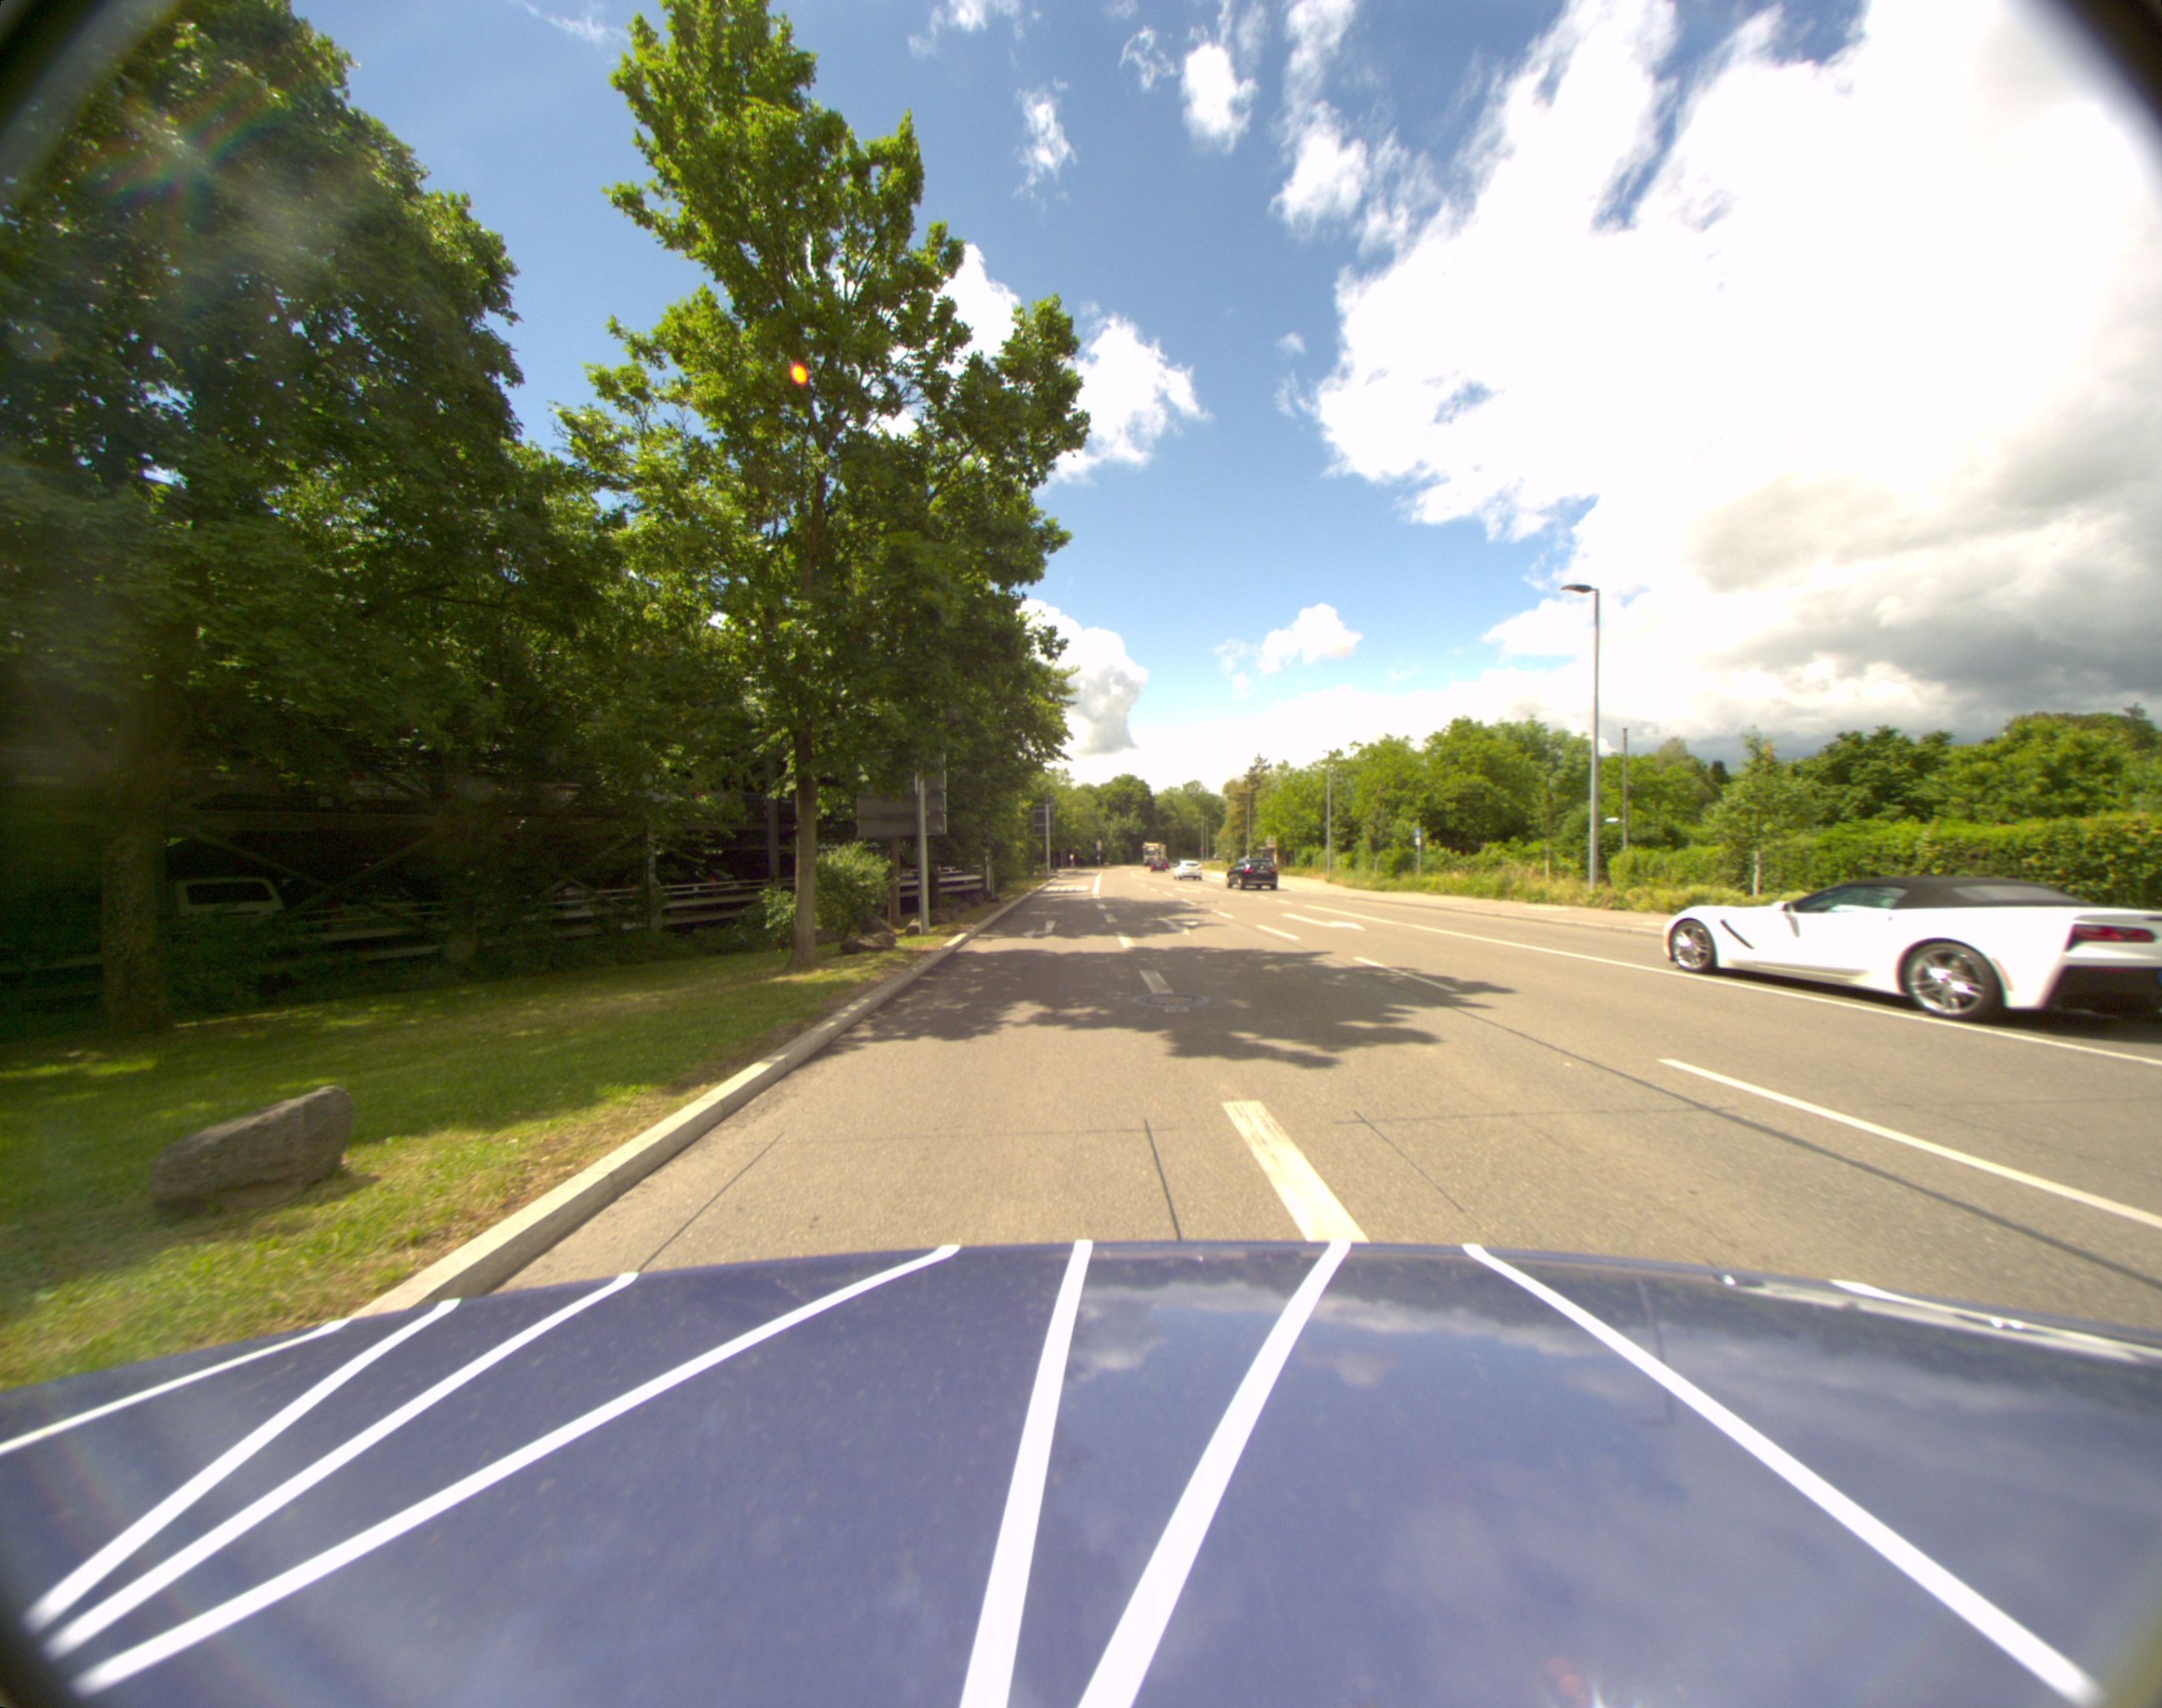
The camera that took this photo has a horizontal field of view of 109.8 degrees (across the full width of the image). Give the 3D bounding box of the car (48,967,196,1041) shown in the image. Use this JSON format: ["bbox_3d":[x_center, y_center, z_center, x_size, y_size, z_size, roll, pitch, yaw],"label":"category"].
[{"bbox_3d":[-27.298,4.192,21.619,3.847,1.438,1.698,1,1,24],"label":"car"}]

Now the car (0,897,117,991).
[{"bbox_3d":[-18.918,1.518,13.248,3.848,1.384,1.698,-1,1,24],"label":"car"}]

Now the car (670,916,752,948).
[{"bbox_3d":[-19.022,3.974,39.044,3.847,1.304,1.682,1,1,24],"label":"car"}]

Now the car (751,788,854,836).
[{"bbox_3d":[-10.906,-1.605,29.730,3.694,1.609,1.662,-1,-1,25],"label":"car"}]

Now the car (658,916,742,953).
[{"bbox_3d":[-19.076,3.992,38.033,3.847,1.438,1.698,1,1,24],"label":"car"}]

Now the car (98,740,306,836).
[{"bbox_3d":[-17.356,-1.209,15.005,3.694,1.532,1.731,-1,-1,25],"label":"car"}]

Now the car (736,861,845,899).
[{"bbox_3d":[-11.269,0.990,29.461,3.848,1.384,1.698,-1,1,24],"label":"car"}]

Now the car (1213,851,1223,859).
[{"bbox_3d":[35.335,0.186,195.701,1.840,1.783,3.907,-3,0,20],"label":"car"}]

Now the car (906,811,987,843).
[{"bbox_3d":[-6.748,-1.308,38.166,3.694,1.403,1.662,-1,-1,25],"label":"car"}]

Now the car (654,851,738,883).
[{"bbox_3d":[-19.453,0.627,38.405,3.847,1.477,1.756,1,1,24],"label":"car"}]

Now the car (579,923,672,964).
[{"bbox_3d":[-20.676,4.036,34.484,3.847,1.438,1.698,1,1,24],"label":"car"}]

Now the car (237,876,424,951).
[{"bbox_3d":[-16.945,1.272,17.161,3.848,1.481,1.698,-1,1,24],"label":"car"}]

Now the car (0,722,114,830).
[{"bbox_3d":[-18.462,-1.260,12.892,3.694,1.532,1.731,-1,-1,25],"label":"car"}]

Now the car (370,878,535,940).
[{"bbox_3d":[-16.070,1.353,19.429,3.848,1.384,1.698,-1,1,24],"label":"car"}]

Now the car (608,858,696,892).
[{"bbox_3d":[-20.507,0.951,36.304,3.847,1.477,1.698,1,1,24],"label":"car"}]

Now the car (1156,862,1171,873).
[{"bbox_3d":[11.718,1.903,107.784,1.827,1.548,4.630,1,-1,2],"label":"car"}]

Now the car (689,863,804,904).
[{"bbox_3d":[-12.227,1.041,27.780,3.848,1.384,1.698,-1,1,24],"label":"car"}]

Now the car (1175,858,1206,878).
[{"bbox_3d":[8.349,1.077,58.104,1.771,1.433,3.899,0,0,-1],"label":"car"}]

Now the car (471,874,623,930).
[{"bbox_3d":[-14.883,1.296,21.166,3.848,1.384,1.698,-1,1,24],"label":"car"}]

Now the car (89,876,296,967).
[{"bbox_3d":[-18.143,1.285,15.512,3.848,1.617,1.698,-1,1,24],"label":"car"}]

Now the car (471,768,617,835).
[{"bbox_3d":[-14.740,-1.372,20.862,3.694,1.553,1.662,-1,-1,25],"label":"car"}]

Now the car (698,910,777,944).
[{"bbox_3d":[-18.444,3.909,40.818,3.847,1.457,1.756,1,1,24],"label":"car"}]

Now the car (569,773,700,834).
[{"bbox_3d":[-13.748,-1.488,23.394,3.694,1.609,1.662,-1,-1,25],"label":"car"}]

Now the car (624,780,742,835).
[{"bbox_3d":[-13.522,-1.530,25.809,3.694,1.609,1.662,-1,-1,25],"label":"car"}]

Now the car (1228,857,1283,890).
[{"bbox_3d":[8.928,0.962,39.295,1.825,1.644,4.533,0,0,0],"label":"car"}]

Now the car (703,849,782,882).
[{"bbox_3d":[-18.293,0.593,41.038,3.847,1.636,1.756,1,1,24],"label":"car"}]

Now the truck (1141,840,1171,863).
[{"bbox_3d":[12.842,-0.507,129.775,3.236,3.838,9.885,1,1,17],"label":"truck"}]

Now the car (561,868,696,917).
[{"bbox_3d":[-14.209,1.167,23.840,3.848,1.384,1.698,-1,1,24],"label":"car"}]

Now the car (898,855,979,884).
[{"bbox_3d":[-7.191,0.777,38.269,3.694,1.403,1.662,-1,1,25],"label":"car"}]

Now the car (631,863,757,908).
[{"bbox_3d":[-13.034,1.038,25.602,3.848,1.384,1.698,-1,1,24],"label":"car"}]

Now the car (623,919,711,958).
[{"bbox_3d":[-19.811,4.013,36.328,3.847,1.438,1.698,1,1,24],"label":"car"}]

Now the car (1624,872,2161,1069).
[{"bbox_3d":[8.110,0.890,7.746,1.909,1.284,4.609,0,0,1],"label":"car"}]

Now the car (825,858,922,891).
[{"bbox_3d":[-9.239,0.899,33.858,3.848,1.384,1.816,-1,1,25],"label":"car"}]

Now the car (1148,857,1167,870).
[{"bbox_3d":[8.934,1.118,88.976,1.771,1.433,4.376,0,0,-1],"label":"car"}]

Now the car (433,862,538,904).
[{"bbox_3d":[-23.700,1.103,30.242,3.847,1.477,1.698,1,1,24],"label":"car"}]

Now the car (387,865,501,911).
[{"bbox_3d":[-23.552,1.205,28.102,3.847,1.477,1.698,1,1,24],"label":"car"}]

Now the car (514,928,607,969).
[{"bbox_3d":[-22.094,3.957,32.241,3.617,1.327,1.608,1,1,24],"label":"car"}]

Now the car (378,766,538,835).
[{"bbox_3d":[-15.633,-1.276,19.053,3.694,1.422,1.662,-1,-1,25],"label":"car"}]

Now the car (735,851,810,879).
[{"bbox_3d":[-17.348,0.586,42.747,3.847,1.434,1.756,1,1,24],"label":"car"}]

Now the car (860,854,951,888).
[{"bbox_3d":[-8.344,0.799,36.203,3.848,1.505,1.840,-1,1,24],"label":"car"}]

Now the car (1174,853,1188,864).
[{"bbox_3d":[20.677,0.928,156.480,1.995,2.002,4.005,1,1,20],"label":"car"}]

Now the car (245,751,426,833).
[{"bbox_3d":[-16.911,-1.320,17.240,3.694,1.532,1.731,-1,-1,25],"label":"car"}]

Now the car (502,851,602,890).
[{"bbox_3d":[-22.321,0.657,32.049,3.847,1.477,1.698,1,1,24],"label":"car"}]
